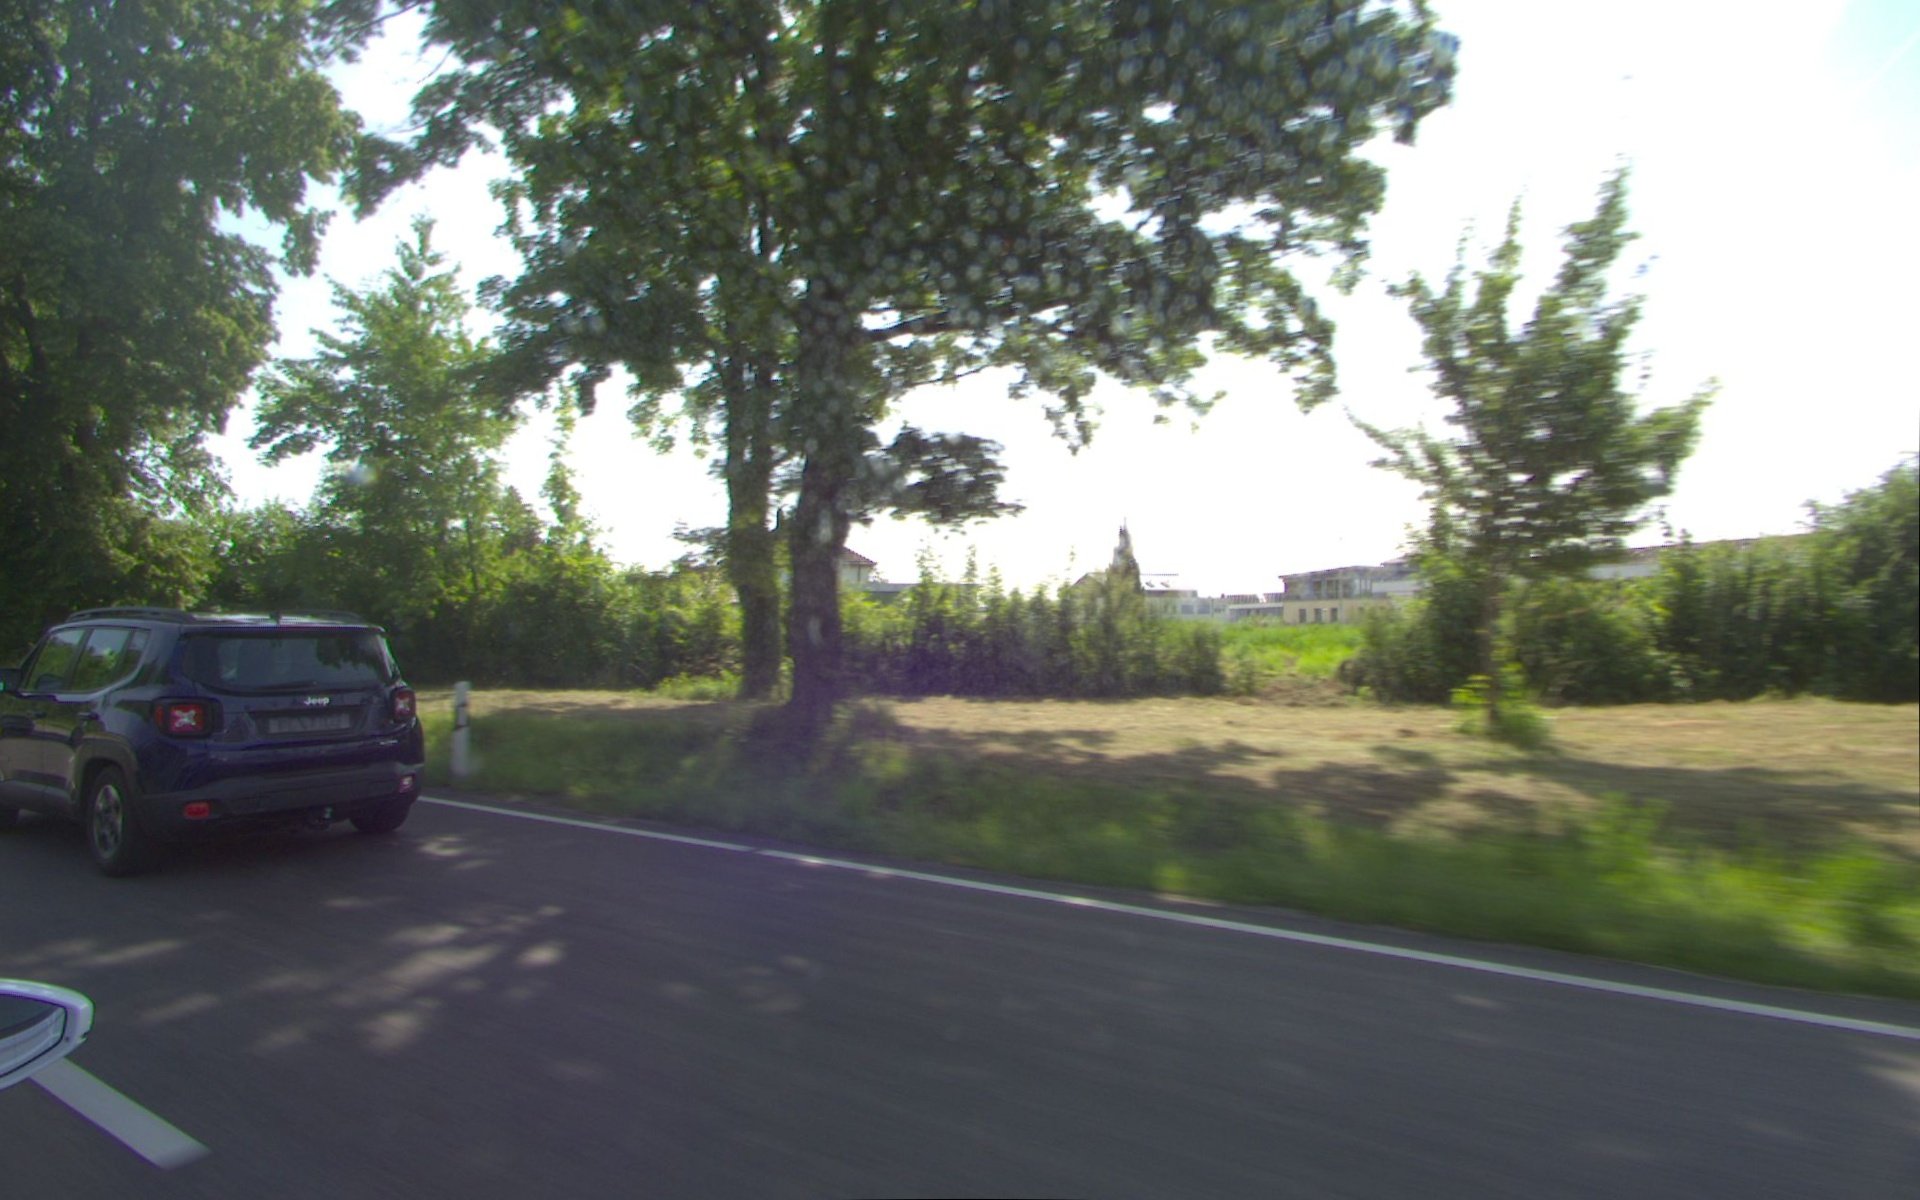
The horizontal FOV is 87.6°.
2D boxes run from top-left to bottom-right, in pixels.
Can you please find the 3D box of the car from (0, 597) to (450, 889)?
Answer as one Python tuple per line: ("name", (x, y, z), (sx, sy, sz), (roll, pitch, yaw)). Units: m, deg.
("car", (-5.836, 0.862, 7.518), (3.942, 1.676, 1.767), (-1, 0, 31))
